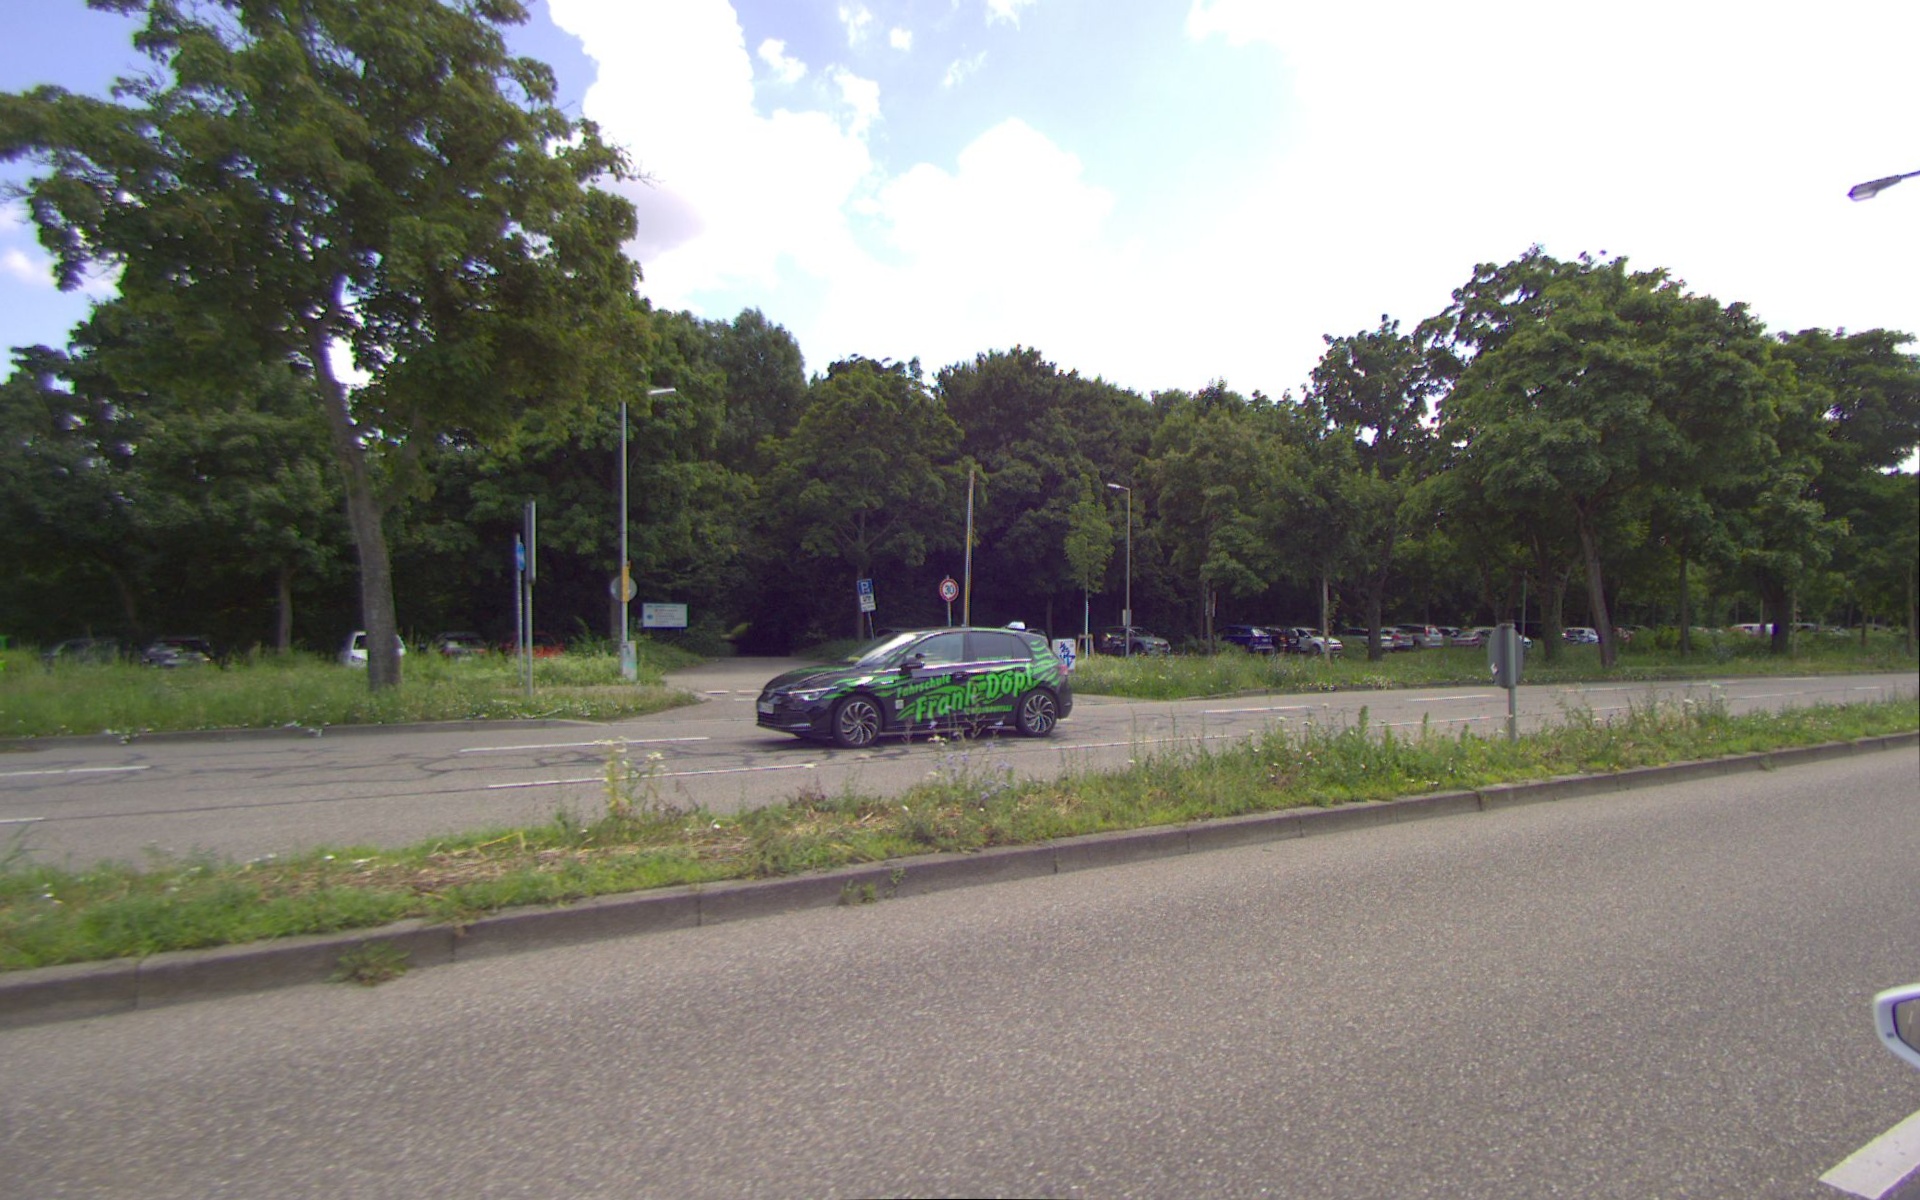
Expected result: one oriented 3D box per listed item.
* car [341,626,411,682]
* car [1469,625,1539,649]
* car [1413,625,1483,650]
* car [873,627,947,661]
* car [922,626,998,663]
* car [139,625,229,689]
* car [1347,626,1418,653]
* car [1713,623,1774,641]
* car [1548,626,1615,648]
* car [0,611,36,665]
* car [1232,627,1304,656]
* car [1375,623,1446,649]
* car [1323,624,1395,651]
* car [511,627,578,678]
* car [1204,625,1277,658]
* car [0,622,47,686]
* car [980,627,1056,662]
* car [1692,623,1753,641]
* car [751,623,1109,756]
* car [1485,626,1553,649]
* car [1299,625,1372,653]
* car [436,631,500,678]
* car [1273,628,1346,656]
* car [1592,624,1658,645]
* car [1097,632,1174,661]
[{"bbox_3d":[-18.433,1.647,31.822,1.763,1.528,3.769,0,0,-28],"label":"car"},{"bbox_3d":[36.268,2.439,67.040,1.762,1.406,3.772,0,0,-26],"label":"car"},{"bbox_3d":[31.070,2.372,64.079,1.762,1.406,3.772,0,0,-26],"label":"car"},{"bbox_3d":[-2.219,1.868,43.661,1.763,1.264,3.769,0,0,-28],"label":"car"},{"bbox_3d":[-0.045,1.951,44.827,1.764,1.447,3.767,0,0,-30],"label":"car"},{"bbox_3d":[-22.455,1.588,29.196,1.677,1.579,3.964,0,0,-32],"label":"car"},{"bbox_3d":[25.560,2.360,60.860,1.761,1.406,3.774,0,0,-25],"label":"car"},{"bbox_3d":[67.659,2.719,86.793,1.762,1.406,3.772,0,0,-26],"label":"car"},{"bbox_3d":[44.754,2.656,72.436,1.762,1.406,3.772,0,0,-26],"label":"car"},{"bbox_3d":[-30.400,1.138,31.039,1.978,1.539,3.965,0,0,-32],"label":"car"},{"bbox_3d":[17.094,2.303,55.918,1.762,1.406,3.772,0,0,-26],"label":"car"},{"bbox_3d":[27.859,2.219,62.205,1.762,1.406,3.772,0,0,-26],"label":"car"},{"bbox_3d":[23.417,2.191,59.095,1.762,1.406,3.772,0,0,-26],"label":"car"},{"bbox_3d":[-14.295,1.746,34.435,1.763,1.528,3.769,0,0,-28],"label":"car"},{"bbox_3d":[15.034,2.176,54.005,1.762,1.589,3.772,0,0,-26],"label":"car"},{"bbox_3d":[-26.420,1.438,27.352,1.677,1.559,3.560,0,0,-32],"label":"car"},{"bbox_3d":[2.624,2.011,46.226,1.764,1.405,3.767,0,0,-30],"label":"car"},{"bbox_3d":[64.896,2.692,85.515,1.762,1.406,3.772,0,0,-26],"label":"car"},{"bbox_3d":[-0.329,1.055,13.175,4.417,1.478,1.746,0,-2,-31],"label":"car"},{"bbox_3d":[38.106,2.517,68.530,1.762,1.406,3.772,0,0,-26],"label":"car"},{"bbox_3d":[21.633,2.226,58.008,1.762,1.406,3.772,0,0,-26],"label":"car"},{"bbox_3d":[-16.174,1.749,32.931,1.763,1.284,3.769,0,0,-28],"label":"car"},{"bbox_3d":[19.673,2.330,56.707,1.762,1.406,3.772,0,0,-26],"label":"car"},{"bbox_3d":[49.859,2.561,75.332,1.762,1.406,3.772,0,0,-26],"label":"car"},{"bbox_3d":[8.692,2.282,50.035,1.764,1.264,3.767,0,0,-30],"label":"car"}]
